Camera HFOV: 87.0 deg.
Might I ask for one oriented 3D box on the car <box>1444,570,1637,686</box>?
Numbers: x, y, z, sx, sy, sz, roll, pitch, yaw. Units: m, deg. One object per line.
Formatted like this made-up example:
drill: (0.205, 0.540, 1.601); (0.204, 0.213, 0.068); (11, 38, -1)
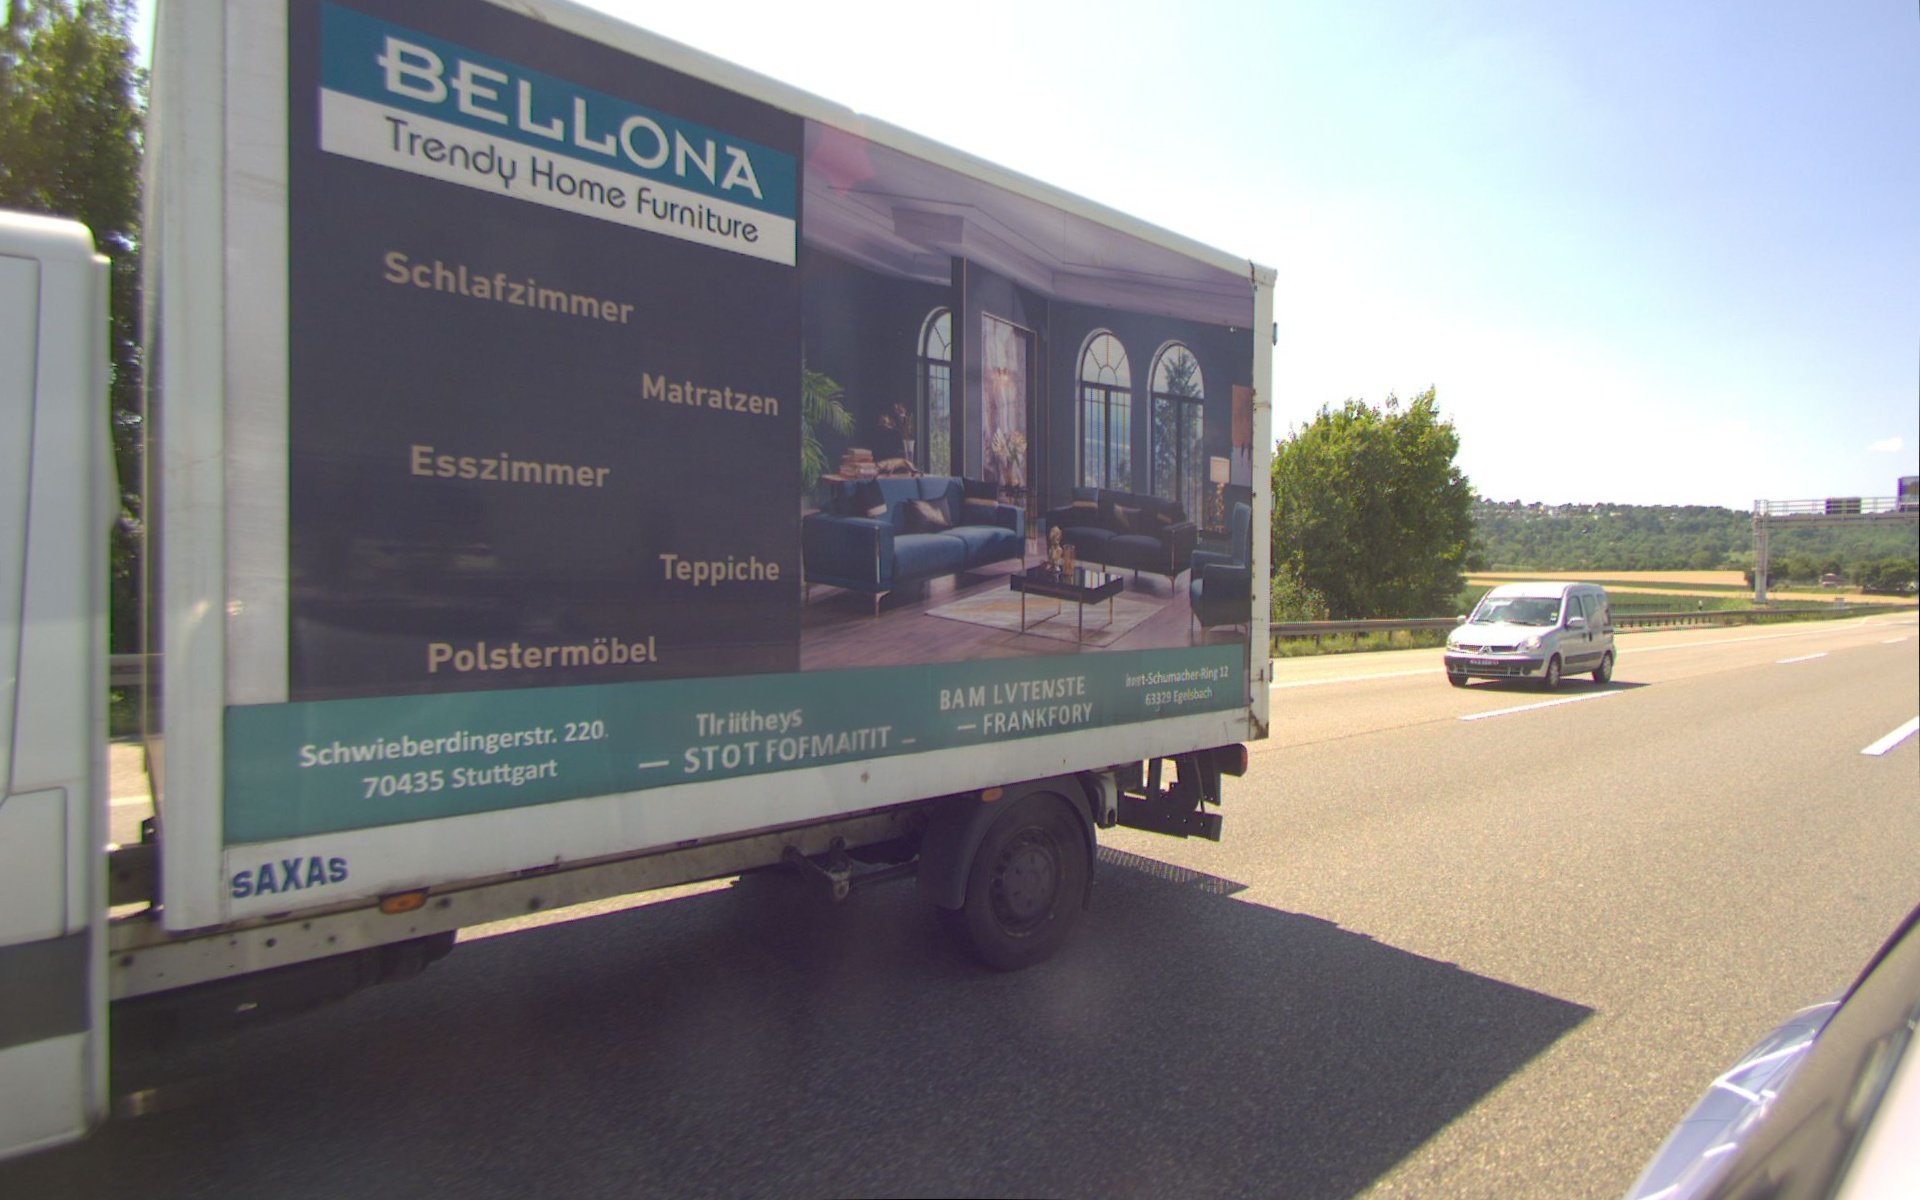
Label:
car: (9.964, 0.417, 17.262); (3.902, 1.759, 1.630); (0, 0, -40)

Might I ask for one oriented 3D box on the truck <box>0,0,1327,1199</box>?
truck: (-1.423, -0.194, 3.747); (6.633, 3.106, 2.325); (0, 0, -41)
